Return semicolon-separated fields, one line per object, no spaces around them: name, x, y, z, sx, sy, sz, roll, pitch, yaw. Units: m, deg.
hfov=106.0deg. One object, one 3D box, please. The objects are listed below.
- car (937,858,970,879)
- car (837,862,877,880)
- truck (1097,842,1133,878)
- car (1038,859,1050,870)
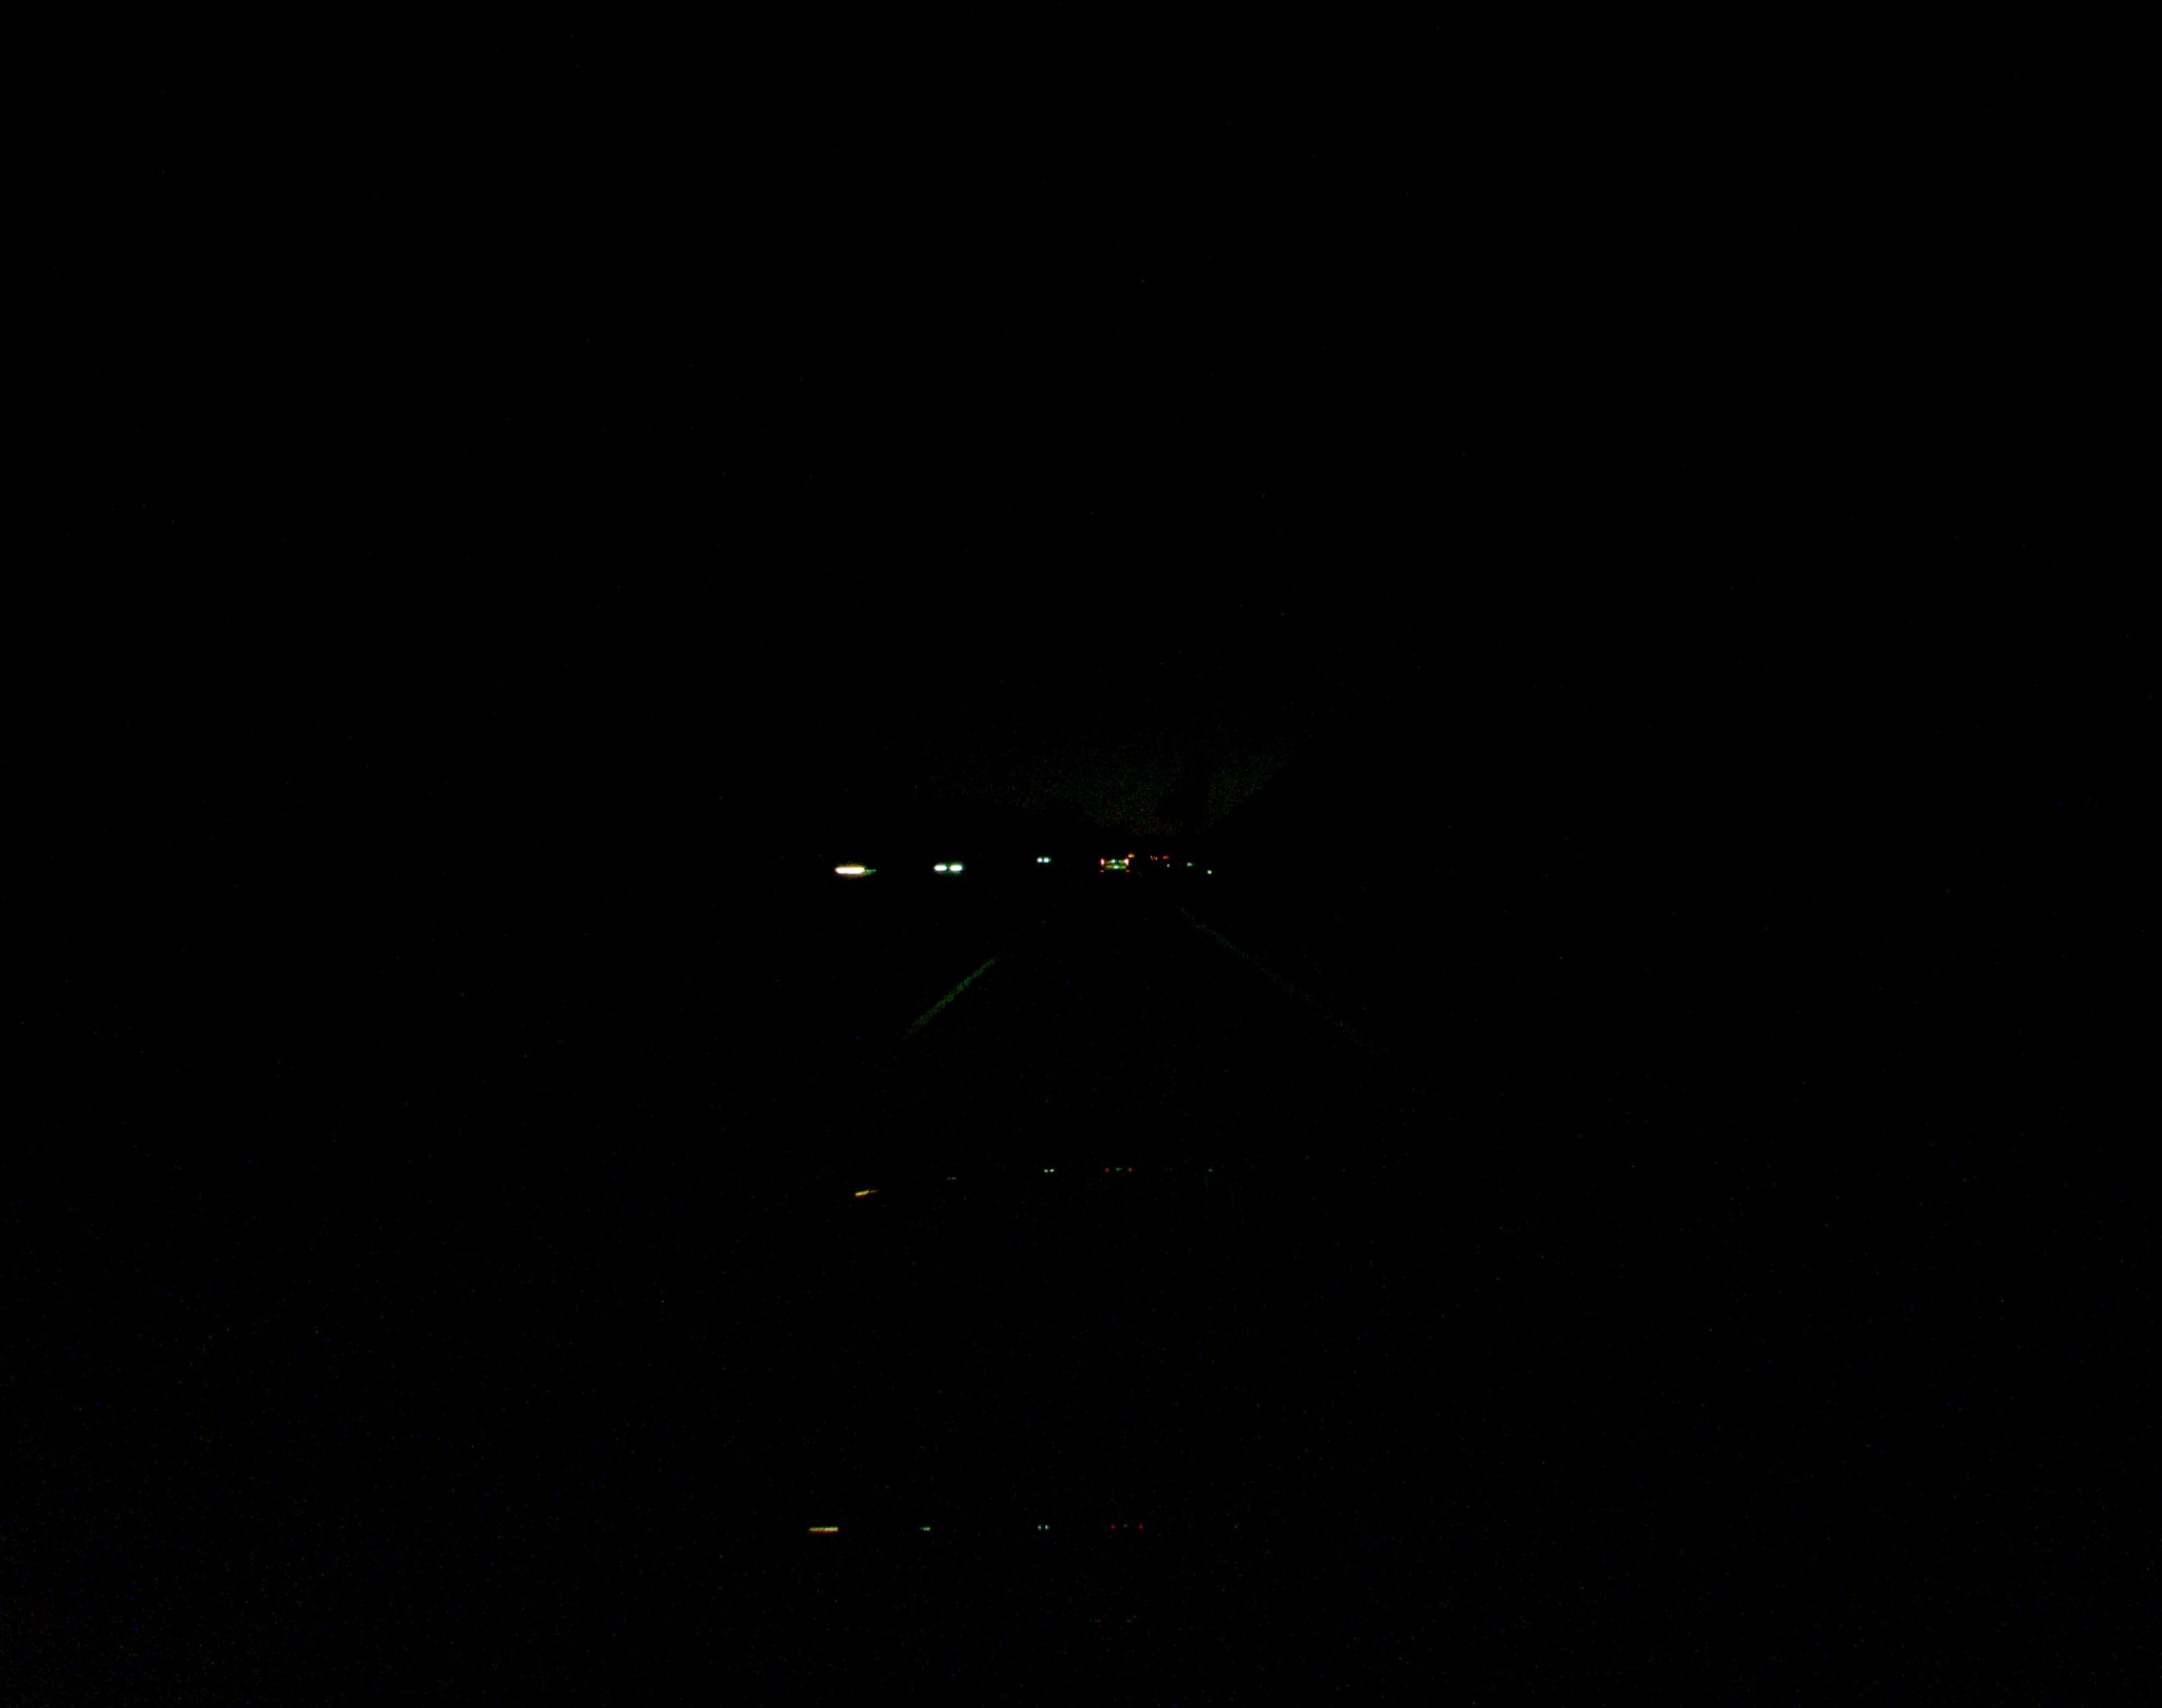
car;-11.695;1.333;75.222;1.984;1.791;4.685;-1;-1;4
car;-19.572;1.497;71.388;1.985;1.508;4.405;-1;-1;3
truck;2.679;0.471;64.132;2.620;2.624;8.688;-1;-1;2
car;-9.058;2.523;199.130;2.072;2.487;6.250;-1;-1;5
